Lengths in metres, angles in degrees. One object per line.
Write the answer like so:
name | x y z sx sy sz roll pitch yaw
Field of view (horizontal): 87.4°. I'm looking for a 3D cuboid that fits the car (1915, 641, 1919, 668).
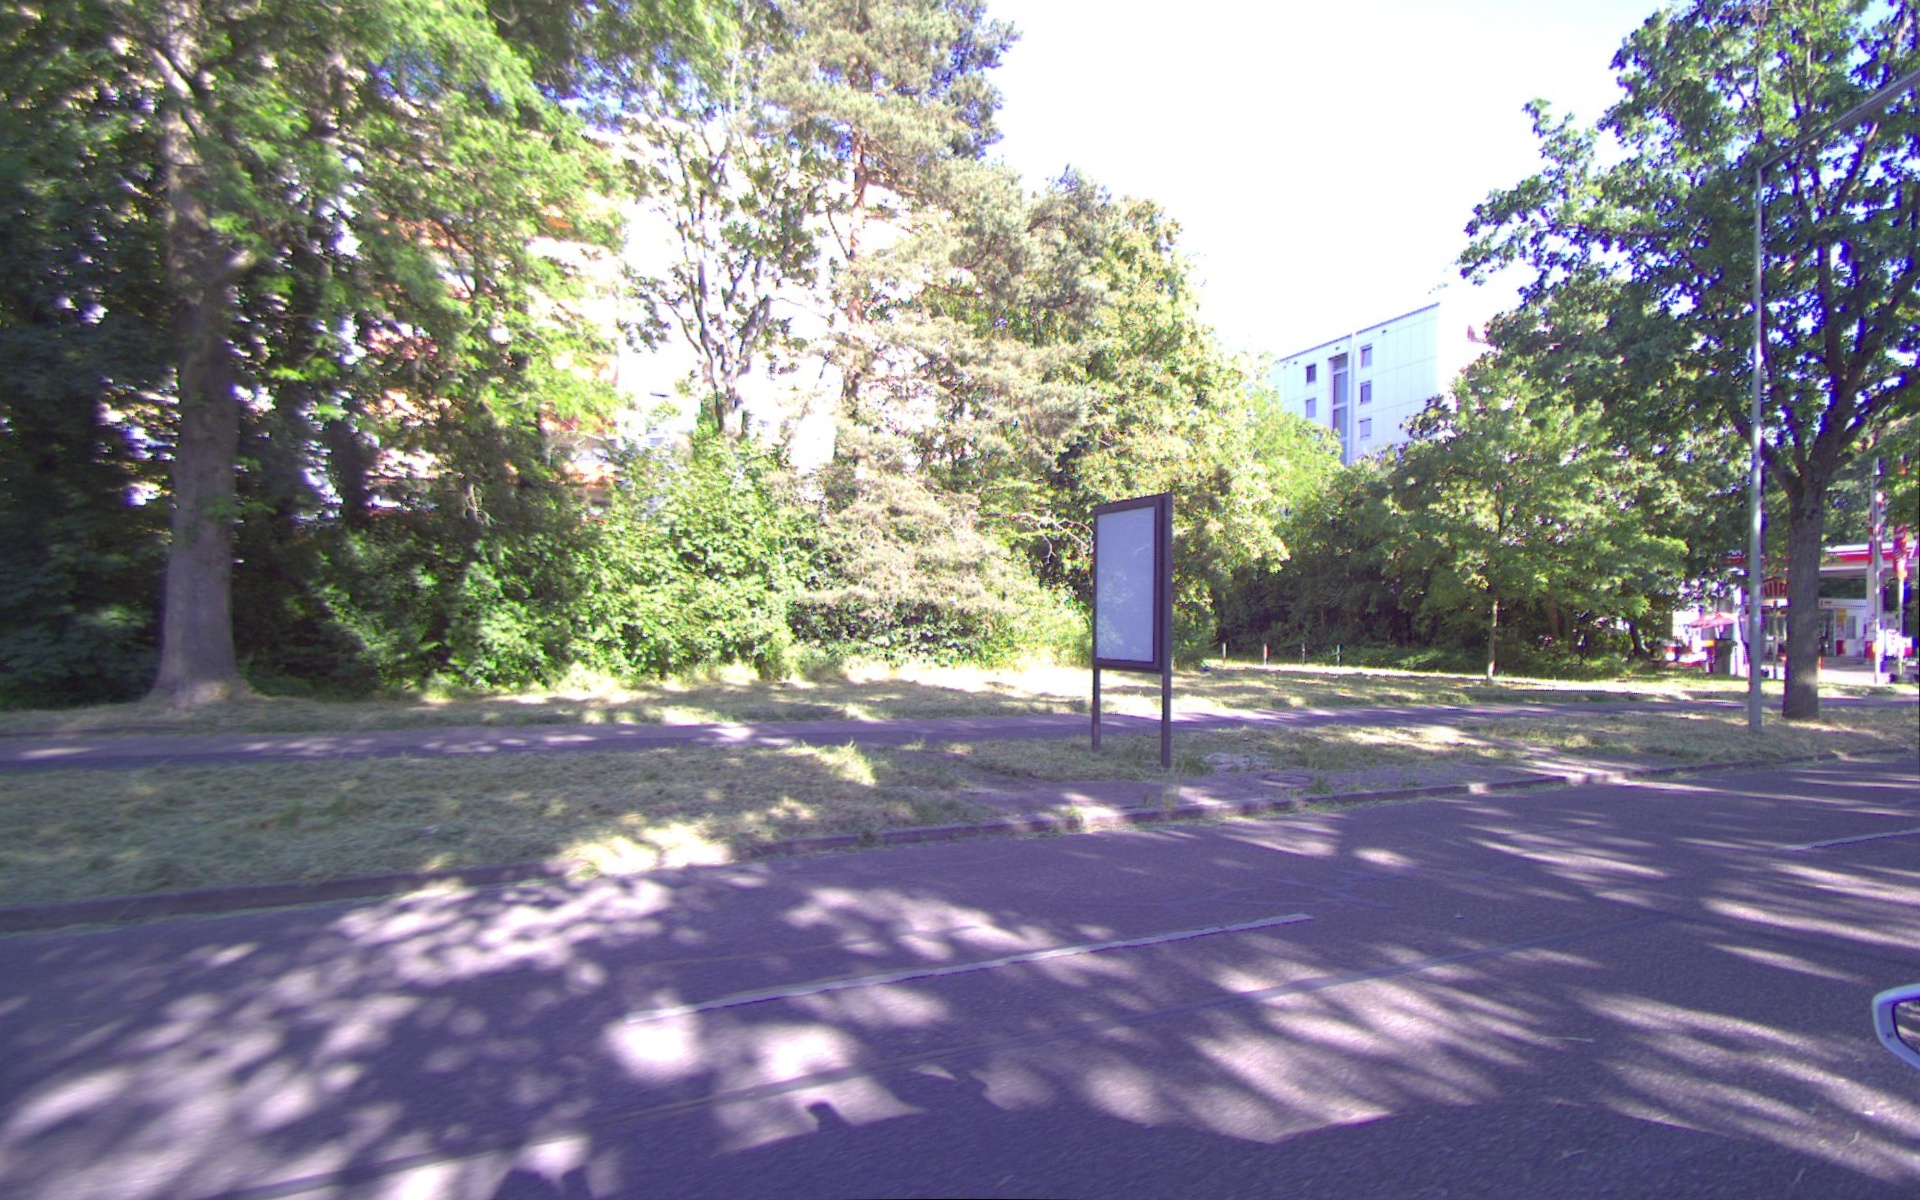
car | 58.859 3.292 59.853 3.760 1.642 1.793 3 -3 -30
